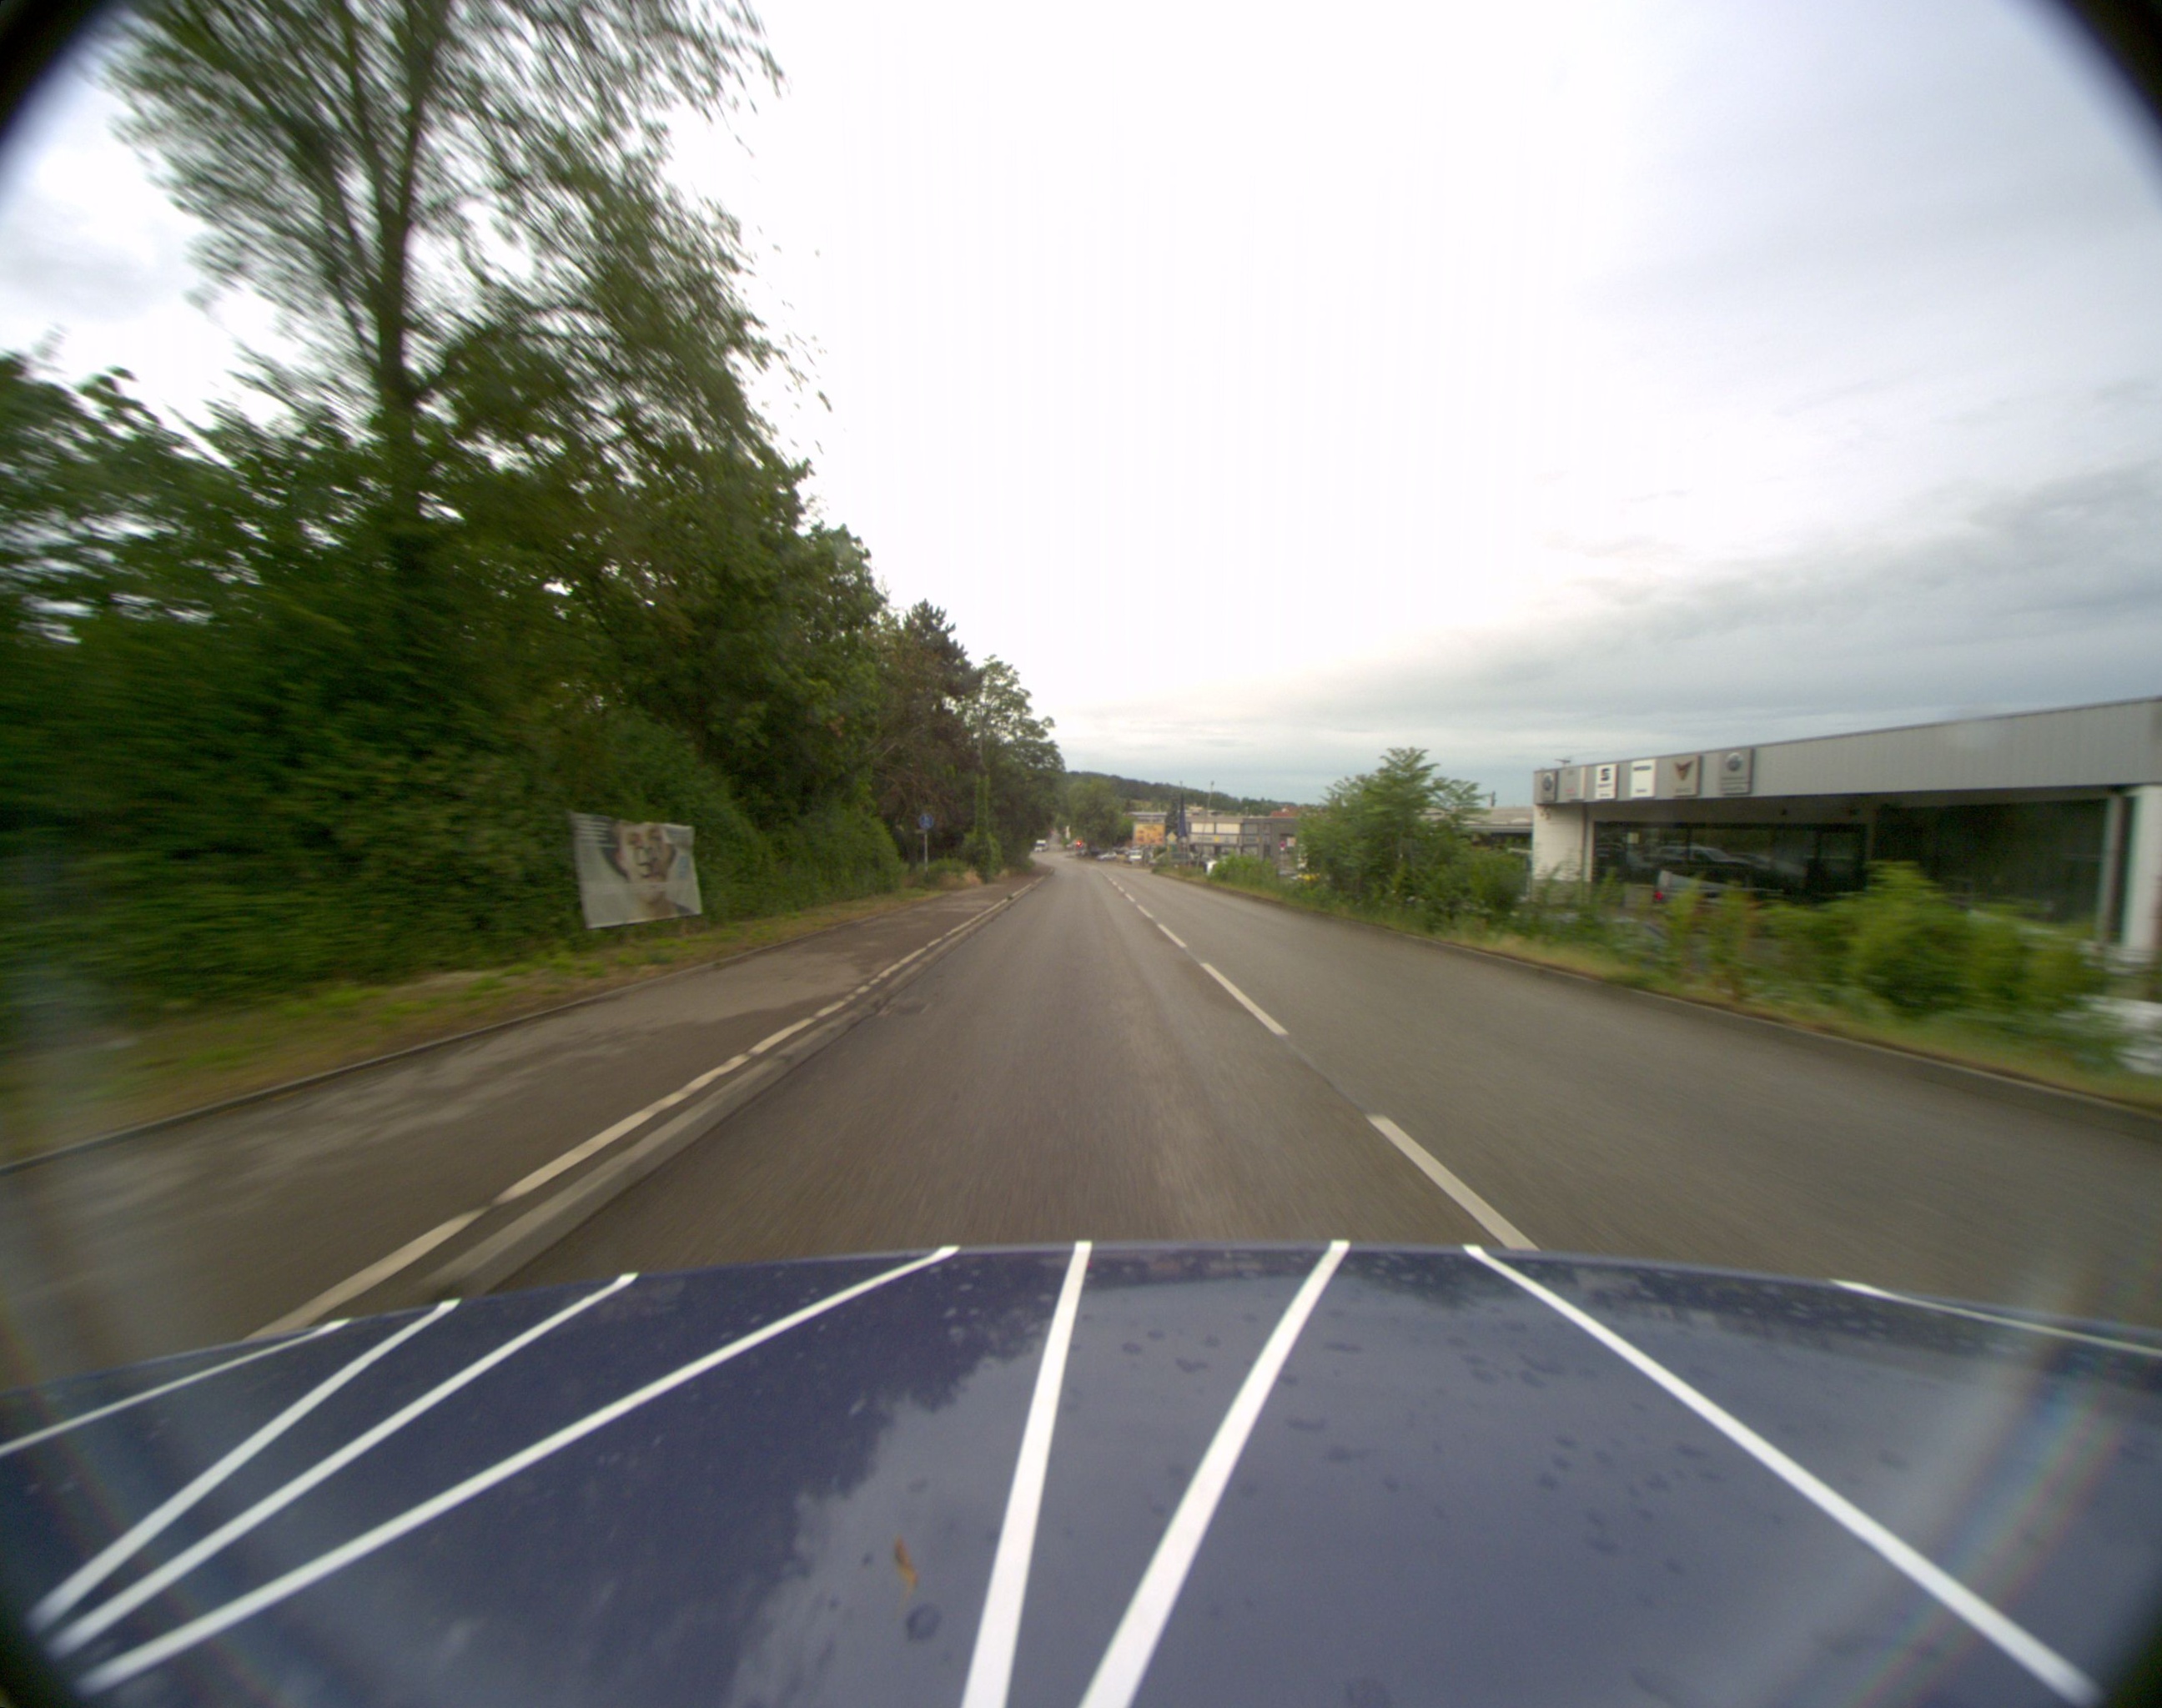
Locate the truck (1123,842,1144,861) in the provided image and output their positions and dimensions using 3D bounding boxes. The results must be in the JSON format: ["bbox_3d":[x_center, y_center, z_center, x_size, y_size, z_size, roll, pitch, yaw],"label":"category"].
[{"bbox_3d":[7.718,-0.452,112.064,1.999,2.618,7.888,1,1,-3],"label":"truck"}]

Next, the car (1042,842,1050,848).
[{"bbox_3d":[-9.213,-2.352,199.721,1.770,1.460,3.997,1,2,-5],"label":"car"}]

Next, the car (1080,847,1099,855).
[{"bbox_3d":[1.806,-0.665,160.271,3.768,1.559,1.671,1,2,-4],"label":"car"}]

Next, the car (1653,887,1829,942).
[{"bbox_3d":[20.886,1.863,24.302,4.010,1.408,1.958,1,1,34],"label":"car"}]

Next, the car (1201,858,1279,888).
[{"bbox_3d":[9.842,1.152,47.399,4.424,1.787,1.934,1,1,-1],"label":"car"}]

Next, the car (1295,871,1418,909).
[{"bbox_3d":[10.379,1.356,28.849,4.071,1.283,1.805,1,0,6],"label":"car"}]

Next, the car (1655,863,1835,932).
[{"bbox_3d":[23.177,1.450,26.808,4.471,1.949,1.992,4,3,35],"label":"car"}]

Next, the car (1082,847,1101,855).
[{"bbox_3d":[2.178,-0.711,157.527,3.896,1.559,1.671,1,2,-7],"label":"car"}]

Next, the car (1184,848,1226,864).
[{"bbox_3d":[15.341,0.236,94.193,2.004,1.976,4.863,-2,1,-44],"label":"car"}]

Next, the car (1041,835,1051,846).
[{"bbox_3d":[-9.909,-3.769,216.811,2.575,2.759,6.122,2,4,-3],"label":"car"}]

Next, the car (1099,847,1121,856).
[{"bbox_3d":[5.565,-0.434,143.817,4.016,1.561,1.716,-2,3,-39],"label":"car"}]

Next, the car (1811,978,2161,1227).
[{"bbox_3d":[10.612,2.494,7.698,4.639,1.793,1.866,5,1,-3],"label":"car"}]

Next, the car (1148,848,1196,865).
[{"bbox_3d":[10.329,0.315,85.984,5.084,1.860,1.821,1,1,-9],"label":"car"}]
